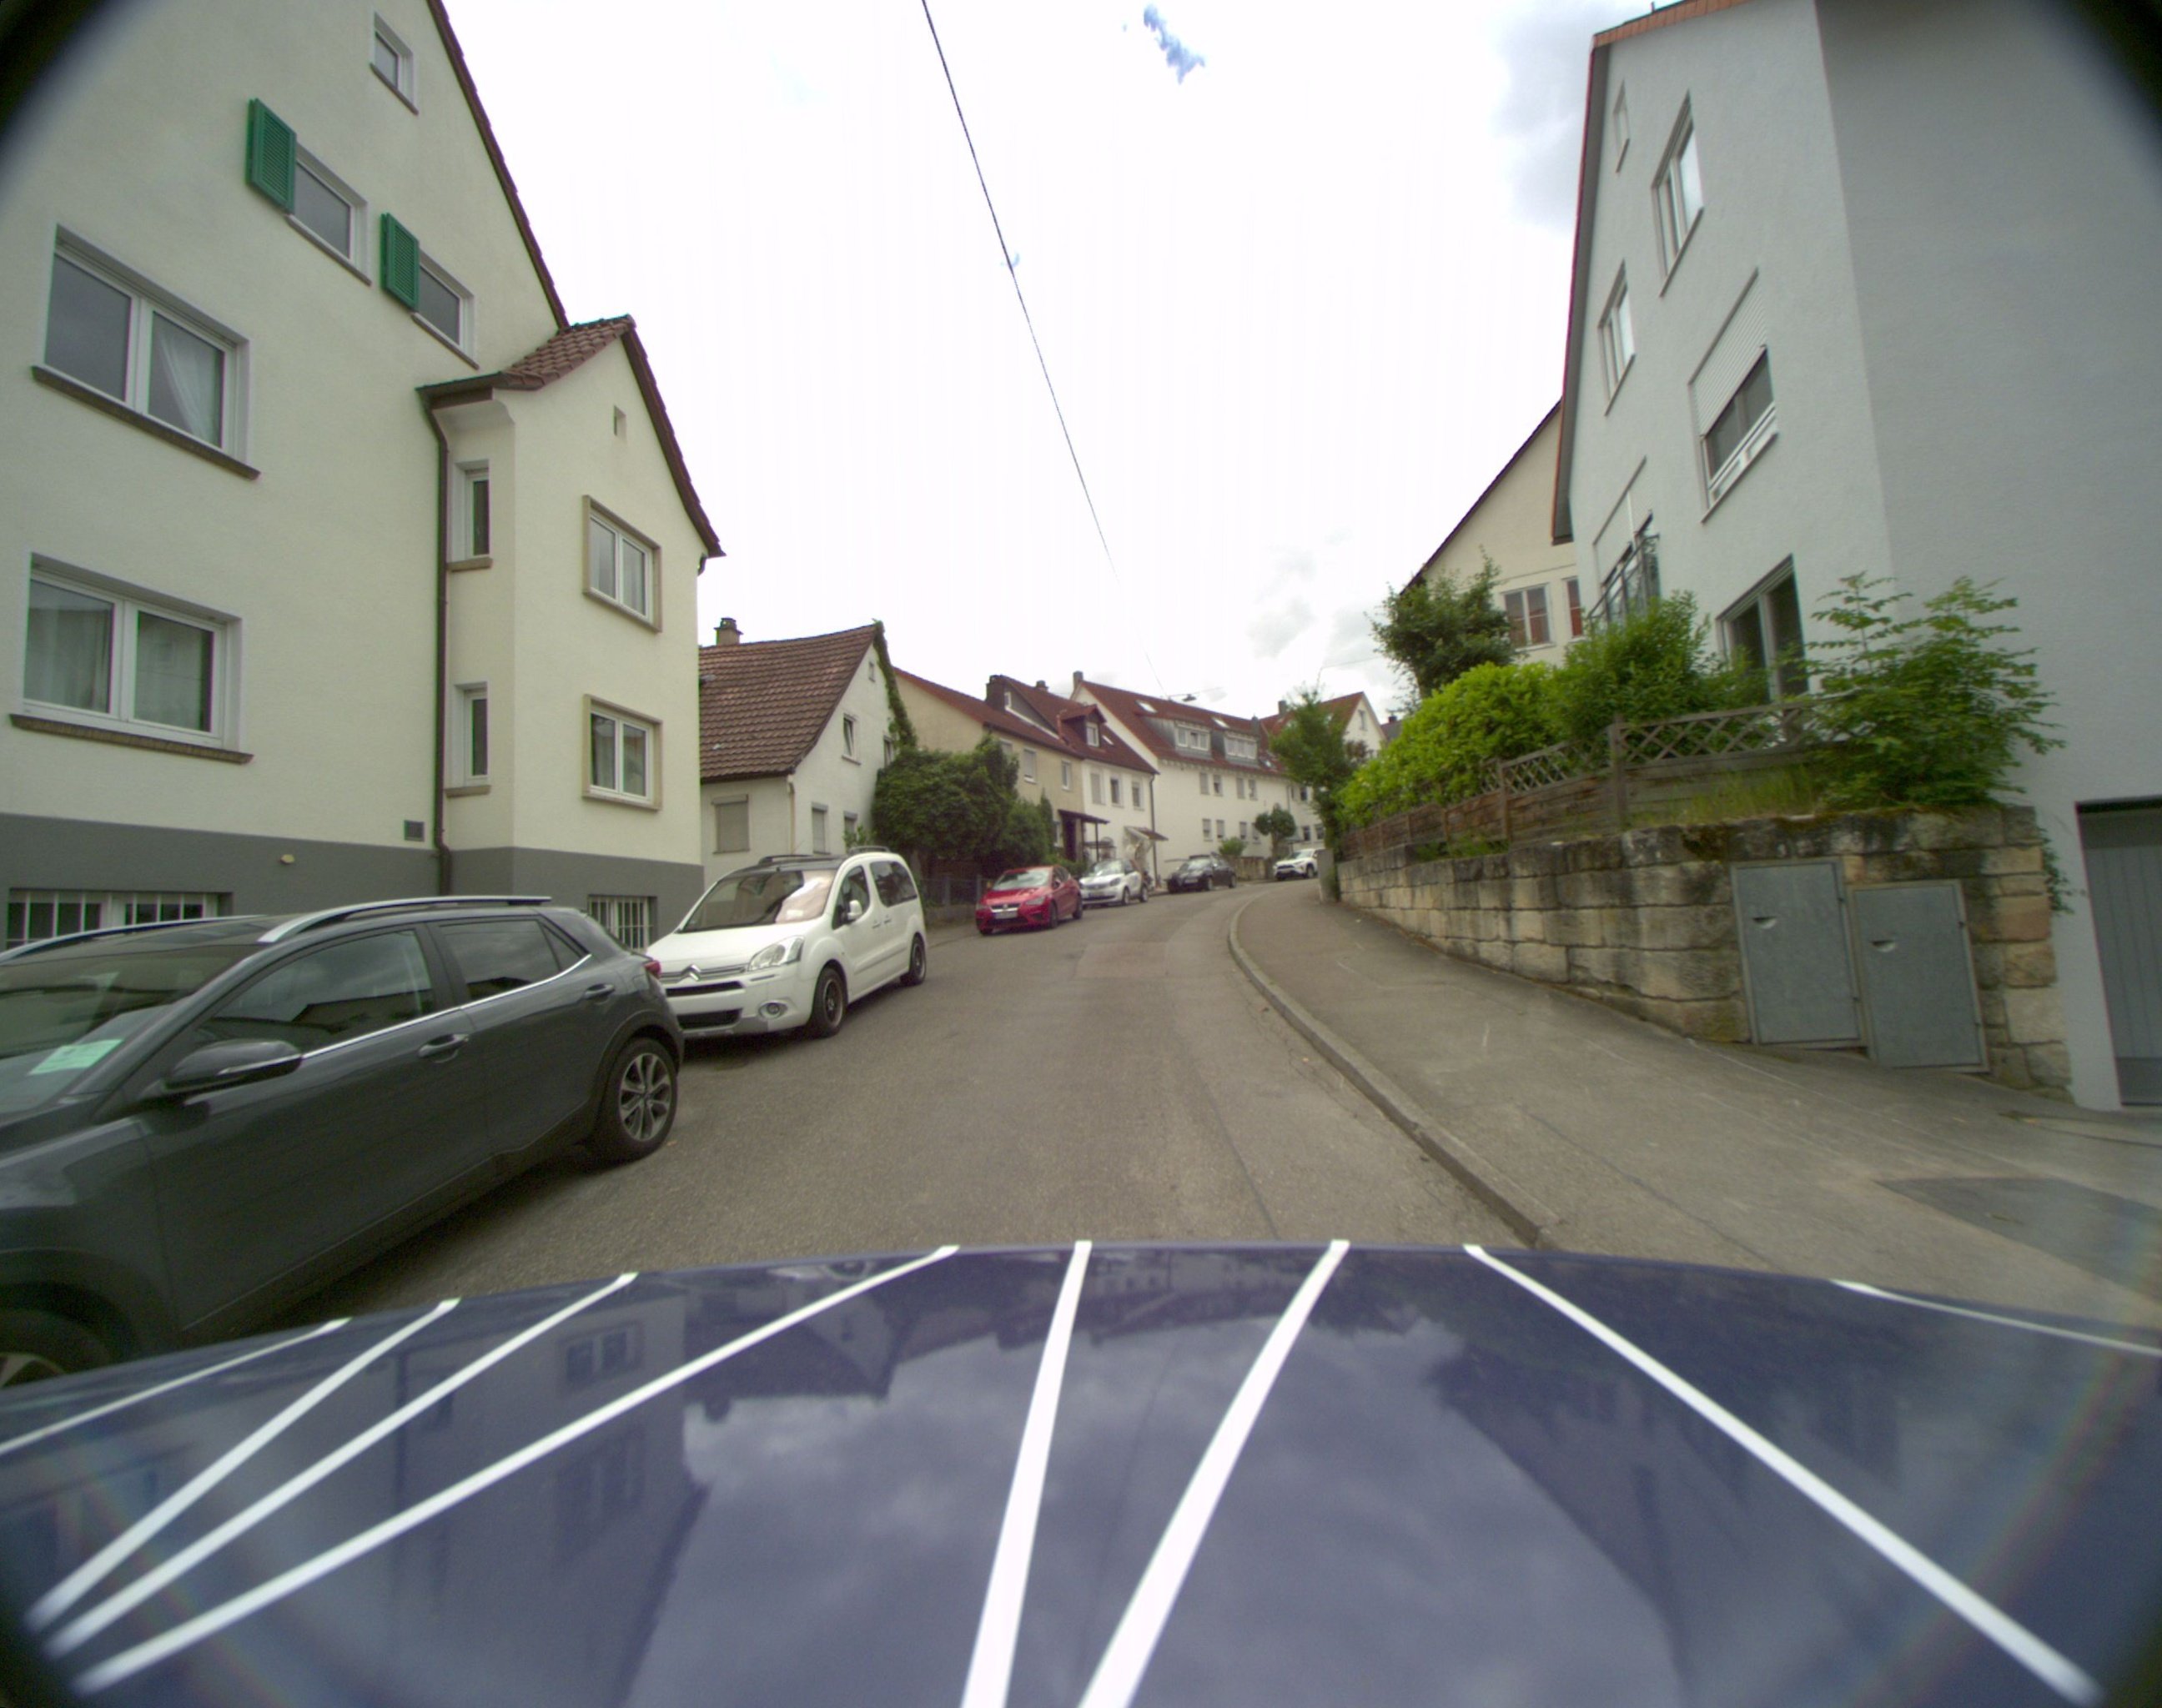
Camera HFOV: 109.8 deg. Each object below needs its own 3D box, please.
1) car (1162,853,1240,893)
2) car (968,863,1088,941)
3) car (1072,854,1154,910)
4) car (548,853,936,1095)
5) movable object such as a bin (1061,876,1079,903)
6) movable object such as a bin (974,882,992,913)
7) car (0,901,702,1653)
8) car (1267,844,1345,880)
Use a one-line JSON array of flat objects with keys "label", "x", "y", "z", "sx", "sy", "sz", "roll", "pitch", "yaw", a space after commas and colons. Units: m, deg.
[{"label": "car", "x": 5.163, "y": 0.760, "z": 32.198, "sx": 1.720, "sy": 1.398, "sz": 4.010, "roll": -7, "pitch": -3, "yaw": 32}, {"label": "car", "x": -1.139, "y": 1.051, "z": 18.104, "sx": 1.682, "sy": 1.443, "sz": 3.855, "roll": -5, "pitch": 0, "yaw": 13}, {"label": "car", "x": 1.096, "y": 0.890, "z": 25.008, "sx": 1.613, "sy": 1.523, "sz": 2.901, "roll": -8, "pitch": -2, "yaw": 23}, {"label": "car", "x": -3.144, "y": 0.971, "z": 8.239, "sx": 1.839, "sy": 1.803, "sz": 4.305, "roll": -5, "pitch": 0, "yaw": 5}, {"label": "movable object such as a bin", "x": -0.392, "y": 1.270, "z": 27.156, "sx": 0.438, "sy": 0.908, "sz": 0.446, "roll": -1, "pitch": 2, "yaw": 28}, {"label": "movable object such as a bin", "x": -3.034, "y": 1.347, "z": 23.566, "sx": 0.372, "sy": 0.944, "sz": 0.375, "roll": -3, "pitch": 0, "yaw": 25}, {"label": "car", "x": -3.354, "y": 1.136, "z": 2.721, "sx": 1.737, "sy": 1.497, "sz": 4.051, "roll": -5, "pitch": 1, "yaw": 2}, {"label": "car", "x": 12.133, "y": 0.419, "z": 40.804, "sx": 4.469, "sy": 1.629, "sz": 1.948, "roll": -1, "pitch": -6, "yaw": -45}]
